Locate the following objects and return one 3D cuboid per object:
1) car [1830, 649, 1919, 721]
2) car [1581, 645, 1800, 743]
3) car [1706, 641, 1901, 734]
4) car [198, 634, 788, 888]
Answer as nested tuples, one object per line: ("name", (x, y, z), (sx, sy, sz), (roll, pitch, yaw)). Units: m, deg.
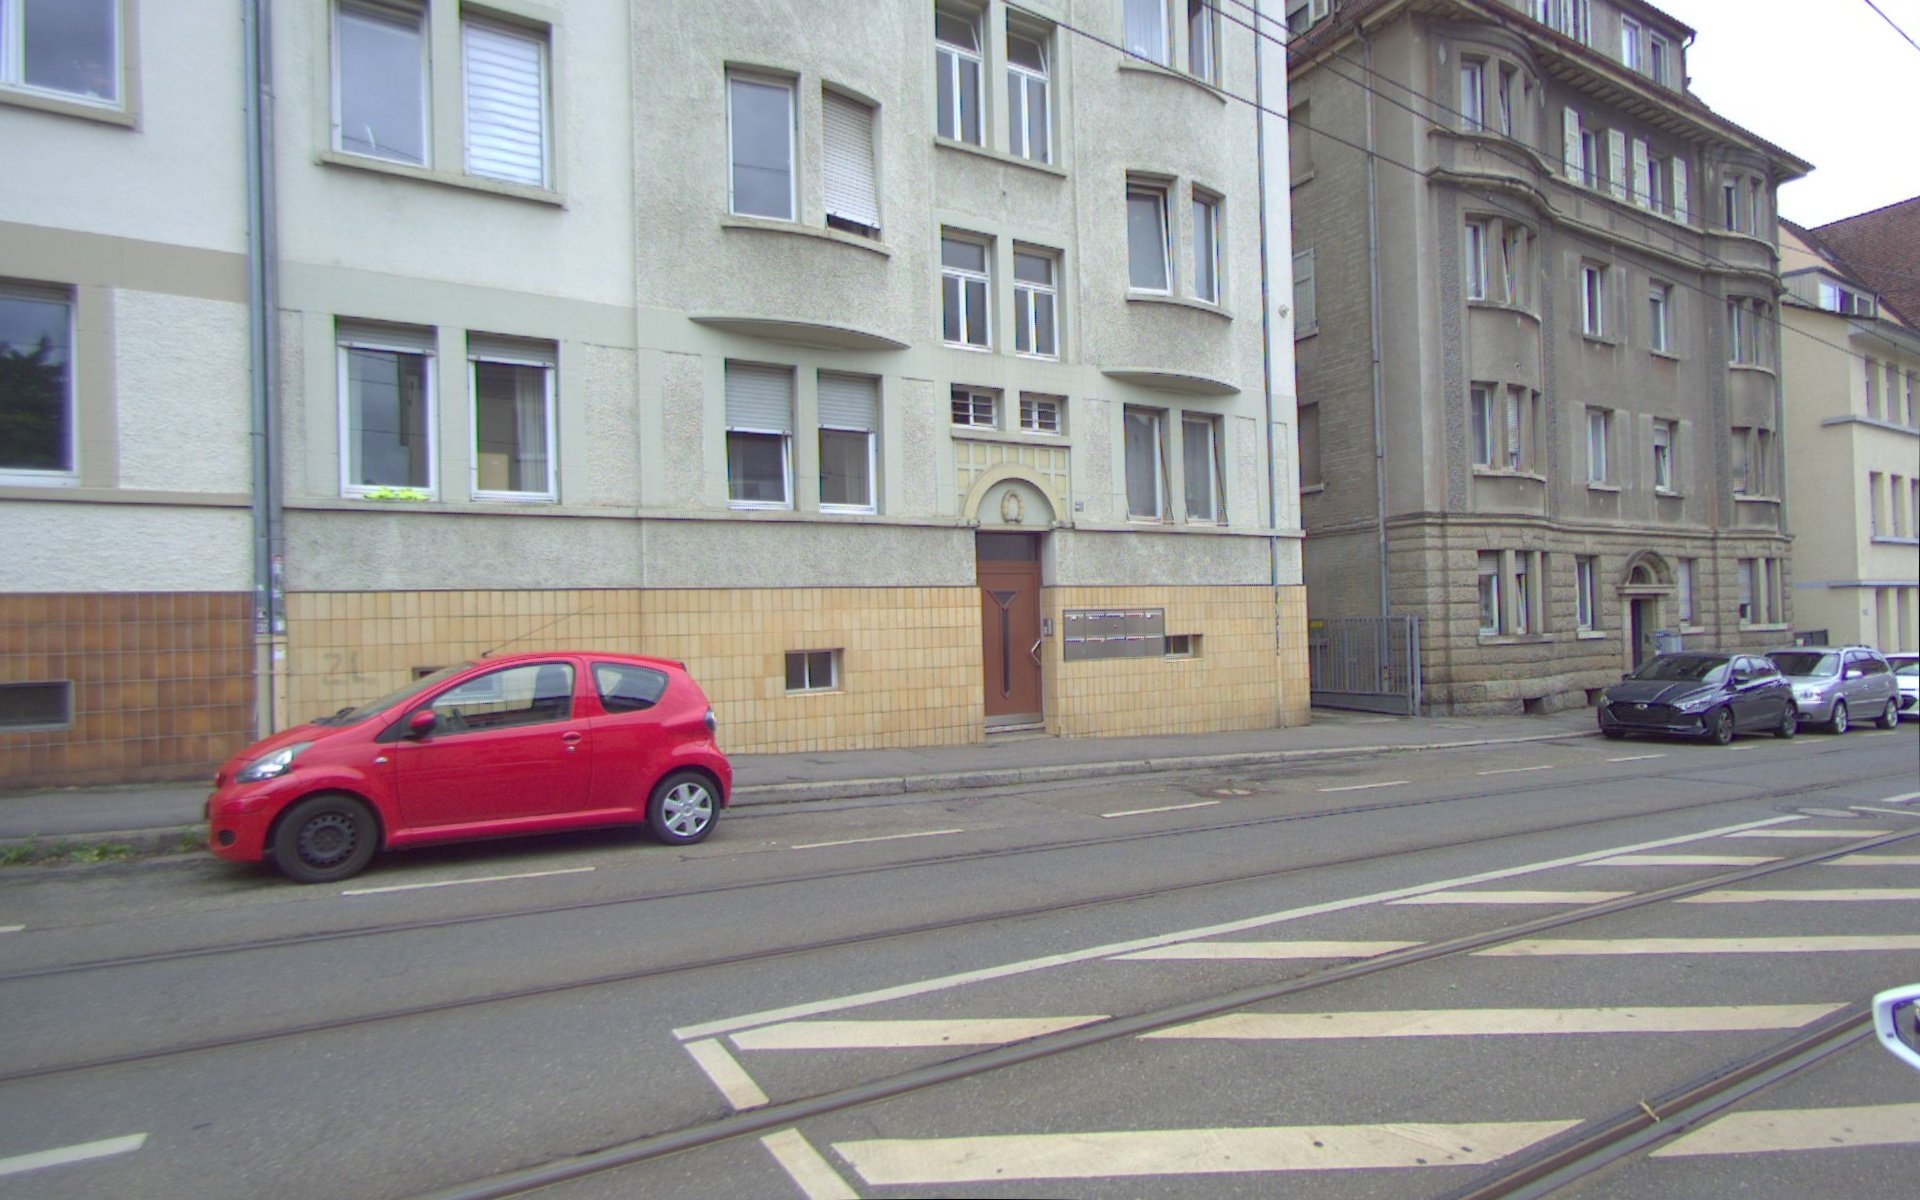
("car", (21.147, 1.889, 22.336), (3.642, 1.482, 1.613), (3, -5, -30))
("car", (12.428, 1.570, 17.037), (3.989, 1.482, 1.612), (3, -5, -32))
("car", (16.358, 1.690, 19.429), (4.303, 1.625, 1.612), (3, -5, -32))
("car", (-3.354, 1.079, 7.619), (3.708, 1.482, 1.611), (4, -5, -35))
